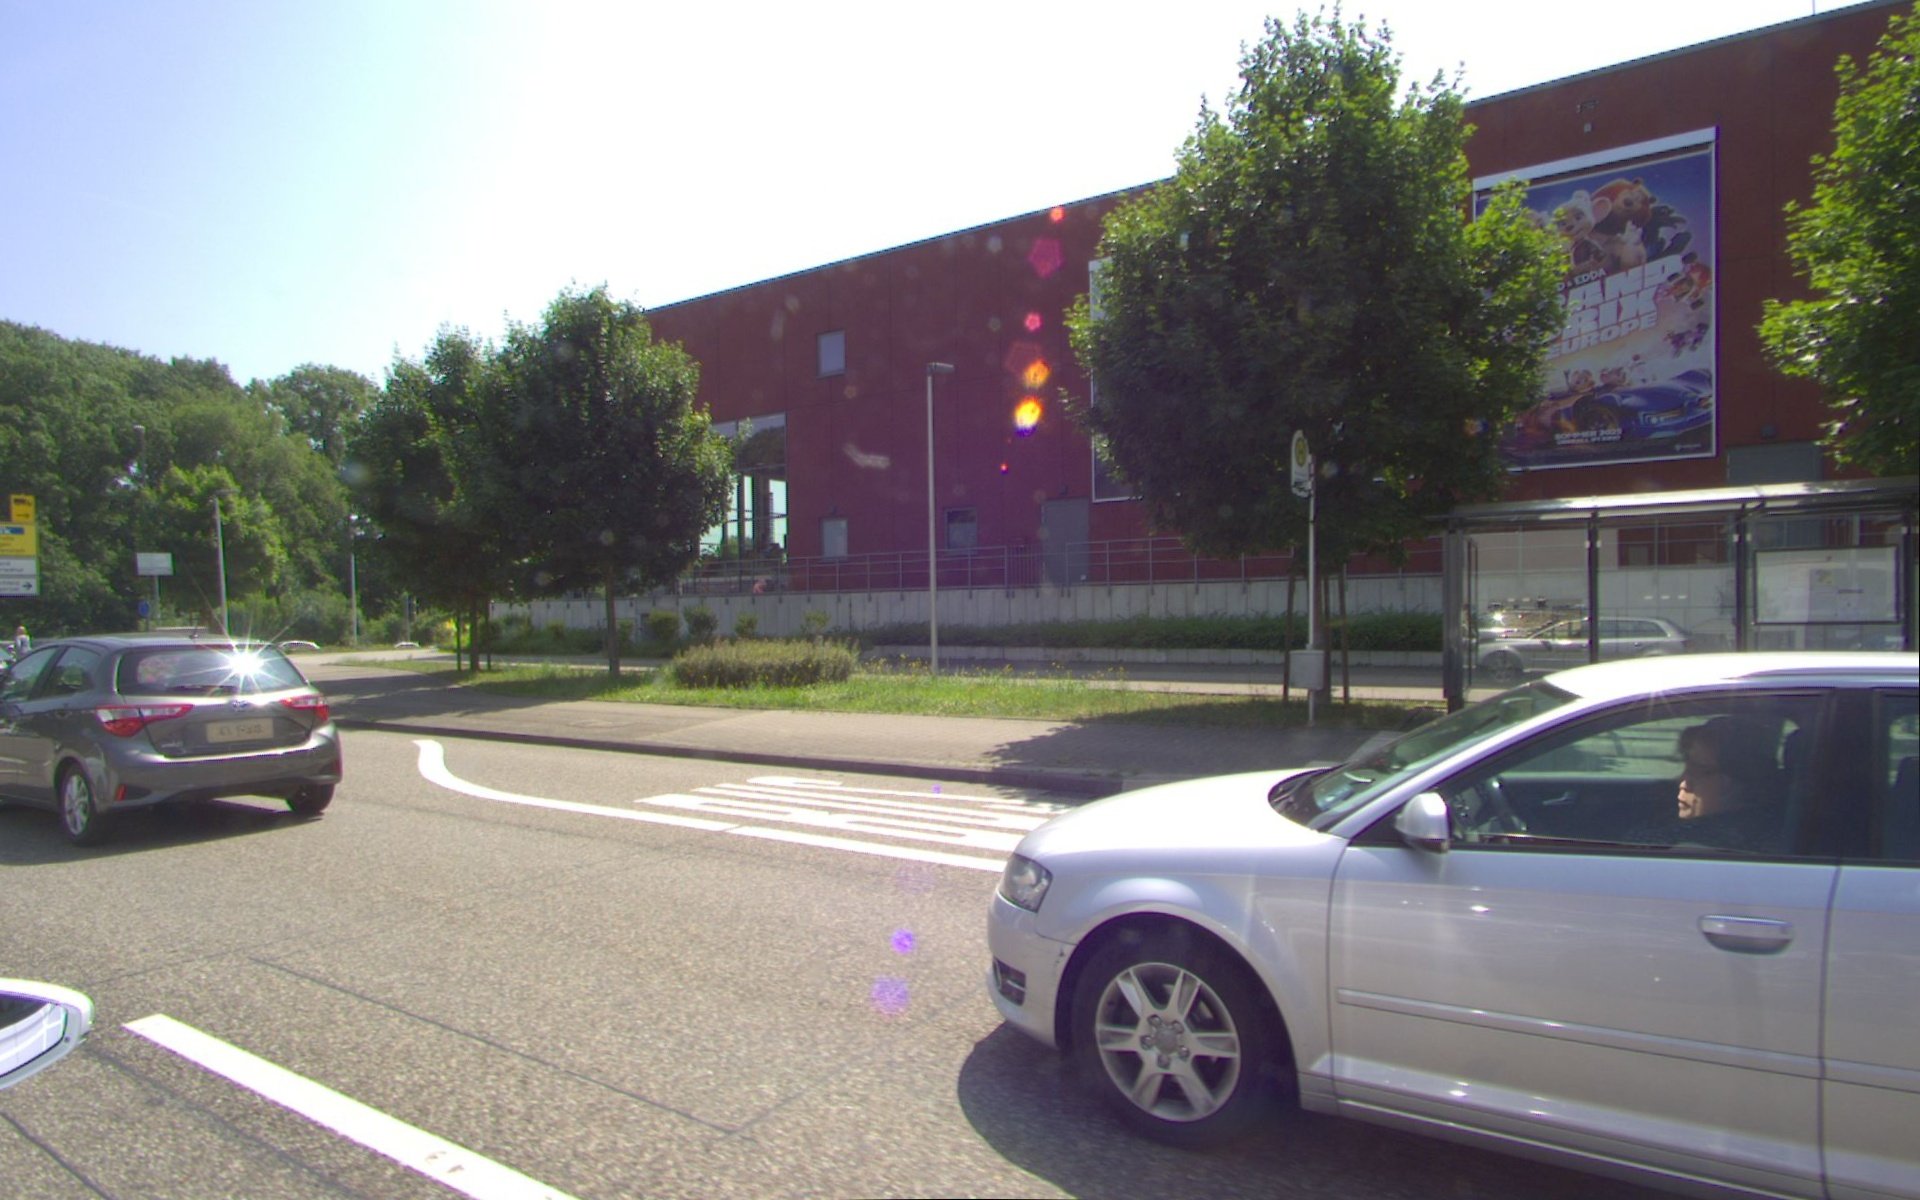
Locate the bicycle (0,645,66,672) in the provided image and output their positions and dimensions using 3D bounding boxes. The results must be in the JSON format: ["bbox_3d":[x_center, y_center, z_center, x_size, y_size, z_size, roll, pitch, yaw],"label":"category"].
[{"bbox_3d":[-29.254,1.833,31.369,1.793,0.776,0.600,-1,0,-13],"label":"bicycle"}]

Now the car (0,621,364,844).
[{"bbox_3d":[-7.071,0.978,8.506,4.032,1.496,1.711,-1,-4,31],"label":"car"}]

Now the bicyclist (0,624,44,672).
[{"bbox_3d":[-29.367,1.489,31.335,0.814,1.458,0.598,-1,1,-13],"label":"bicyclist"}]

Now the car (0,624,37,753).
[{"bbox_3d":[-14.030,1.140,13.188,4.032,1.614,1.709,-1,-1,31],"label":"car"}]

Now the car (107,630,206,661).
[{"bbox_3d":[-44.258,2.480,55.235,1.652,1.483,3.974,-1,0,35],"label":"car"}]

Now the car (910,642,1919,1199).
[{"bbox_3d":[1.997,0.818,2.920,4.032,1.379,1.710,-1,-2,31],"label":"car"}]
